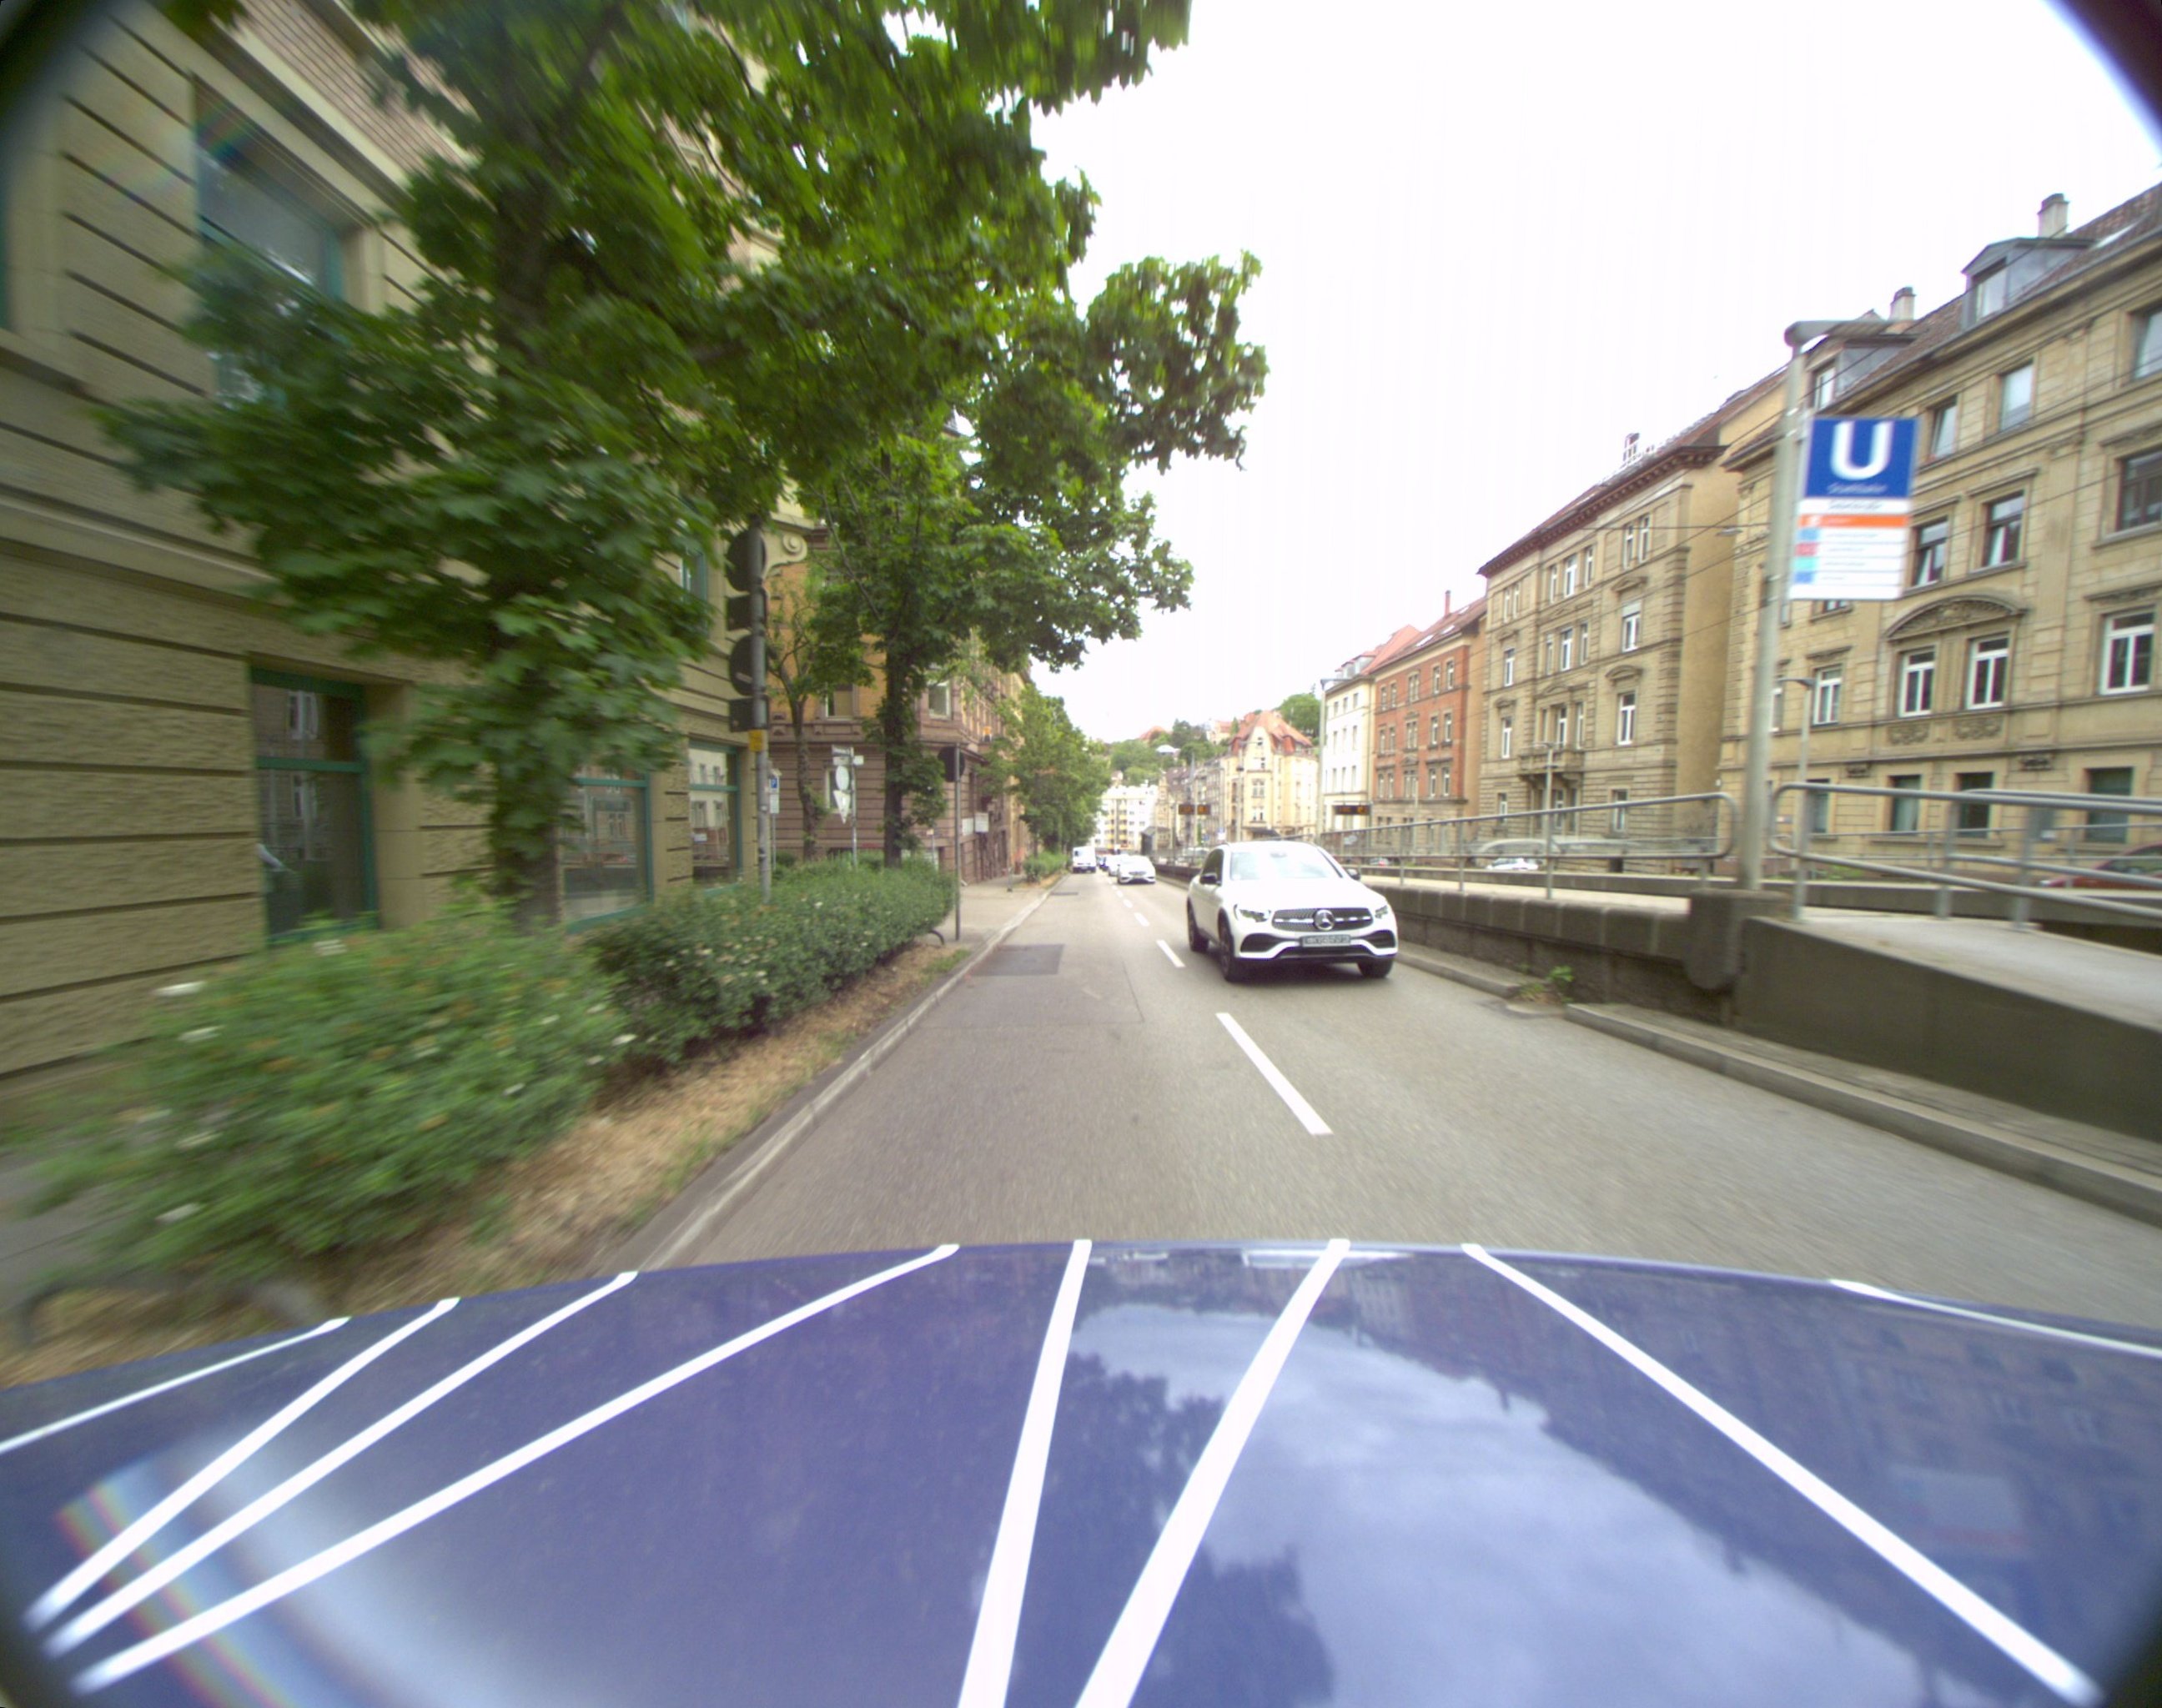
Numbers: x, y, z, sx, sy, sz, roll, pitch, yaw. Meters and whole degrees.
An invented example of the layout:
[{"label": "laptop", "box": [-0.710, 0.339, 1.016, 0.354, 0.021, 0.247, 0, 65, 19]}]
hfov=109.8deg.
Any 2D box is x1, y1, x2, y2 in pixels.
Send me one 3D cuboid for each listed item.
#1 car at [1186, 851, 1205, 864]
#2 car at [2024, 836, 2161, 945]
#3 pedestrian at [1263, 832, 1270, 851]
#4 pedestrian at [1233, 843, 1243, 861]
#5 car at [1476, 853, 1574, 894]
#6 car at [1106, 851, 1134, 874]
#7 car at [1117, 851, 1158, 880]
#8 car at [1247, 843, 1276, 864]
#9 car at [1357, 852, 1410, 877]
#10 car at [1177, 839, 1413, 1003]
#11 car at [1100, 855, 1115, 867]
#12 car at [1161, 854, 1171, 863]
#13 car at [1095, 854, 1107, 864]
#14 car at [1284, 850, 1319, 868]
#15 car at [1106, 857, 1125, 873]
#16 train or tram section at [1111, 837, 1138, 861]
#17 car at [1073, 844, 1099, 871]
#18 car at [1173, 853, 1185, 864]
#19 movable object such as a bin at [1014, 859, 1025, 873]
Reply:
[{"label": "car", "box": [16.706, 0.455, 111.136, 1.999, 1.884, 4.414, 0, 0, -1]}, {"label": "car", "box": [19.159, 0.622, 12.614, 1.853, 1.849, 4.138, 0, 0, 1]}, {"label": "pedestrian", "box": [14.853, -0.995, 60.933, 0.463, 1.553, 0.540, 0, 0, 0]}, {"label": "pedestrian", "box": [14.943, -0.204, 72.258, 0.767, 1.678, 0.843, 0, 0, 1]}, {"label": "car", "box": [19.367, 0.794, 33.365, 1.940, 1.670, 4.000, 1, 0, 0]}, {"label": "car", "box": [2.785, 0.579, 54.483, 1.806, 1.542, 4.000, -1, 0, 0]}, {"label": "car", "box": [2.873, 0.583, 39.306, 1.806, 1.391, 4.000, -1, 0, 0]}, {"label": "car", "box": [20.107, -0.102, 84.934, 1.998, 2.291, 5.455, 0, 0, 1]}, {"label": "car", "box": [19.828, 0.666, 49.959, 1.883, 1.519, 4.000, 1, 0, 1]}, {"label": "car", "box": [2.533, 0.673, 10.250, 1.840, 1.657, 4.670, -2, 1, 0]}, {"label": "car", "box": [3.045, 0.780, 87.140, 1.562, 1.330, 4.000, 0, 0, 0]}, {"label": "car", "box": [17.192, 0.963, 153.866, 1.827, 1.754, 3.864, 0, 0, 2]}, {"label": "car", "box": [2.864, 0.683, 107.892, 1.562, 1.330, 4.000, 0, 0, 0]}, {"label": "car", "box": [19.337, 0.446, 66.917, 1.772, 1.462, 4.260, -1, 0, -1]}, {"label": "car", "box": [3.267, 1.002, 72.456, 1.694, 1.466, 3.857, 0, 0, 1]}, {"label": "train or tram section", "box": [6.553, -0.725, 116.612, 2.968, 3.456, 14.407, 0, 0, -1]}, {"label": "car", "box": [0.447, 0.330, 68.505, 2.263, 2.274, 5.967, -1, 0, 0]}, {"label": "car", "box": [17.096, 0.781, 133.068, 1.827, 1.754, 3.865, 0, 0, 3]}, {"label": "movable object such as a bin", "box": [-4.333, 0.855, 53.438, 0.672, 0.937, 0.539, 0, 1, 4]}]
